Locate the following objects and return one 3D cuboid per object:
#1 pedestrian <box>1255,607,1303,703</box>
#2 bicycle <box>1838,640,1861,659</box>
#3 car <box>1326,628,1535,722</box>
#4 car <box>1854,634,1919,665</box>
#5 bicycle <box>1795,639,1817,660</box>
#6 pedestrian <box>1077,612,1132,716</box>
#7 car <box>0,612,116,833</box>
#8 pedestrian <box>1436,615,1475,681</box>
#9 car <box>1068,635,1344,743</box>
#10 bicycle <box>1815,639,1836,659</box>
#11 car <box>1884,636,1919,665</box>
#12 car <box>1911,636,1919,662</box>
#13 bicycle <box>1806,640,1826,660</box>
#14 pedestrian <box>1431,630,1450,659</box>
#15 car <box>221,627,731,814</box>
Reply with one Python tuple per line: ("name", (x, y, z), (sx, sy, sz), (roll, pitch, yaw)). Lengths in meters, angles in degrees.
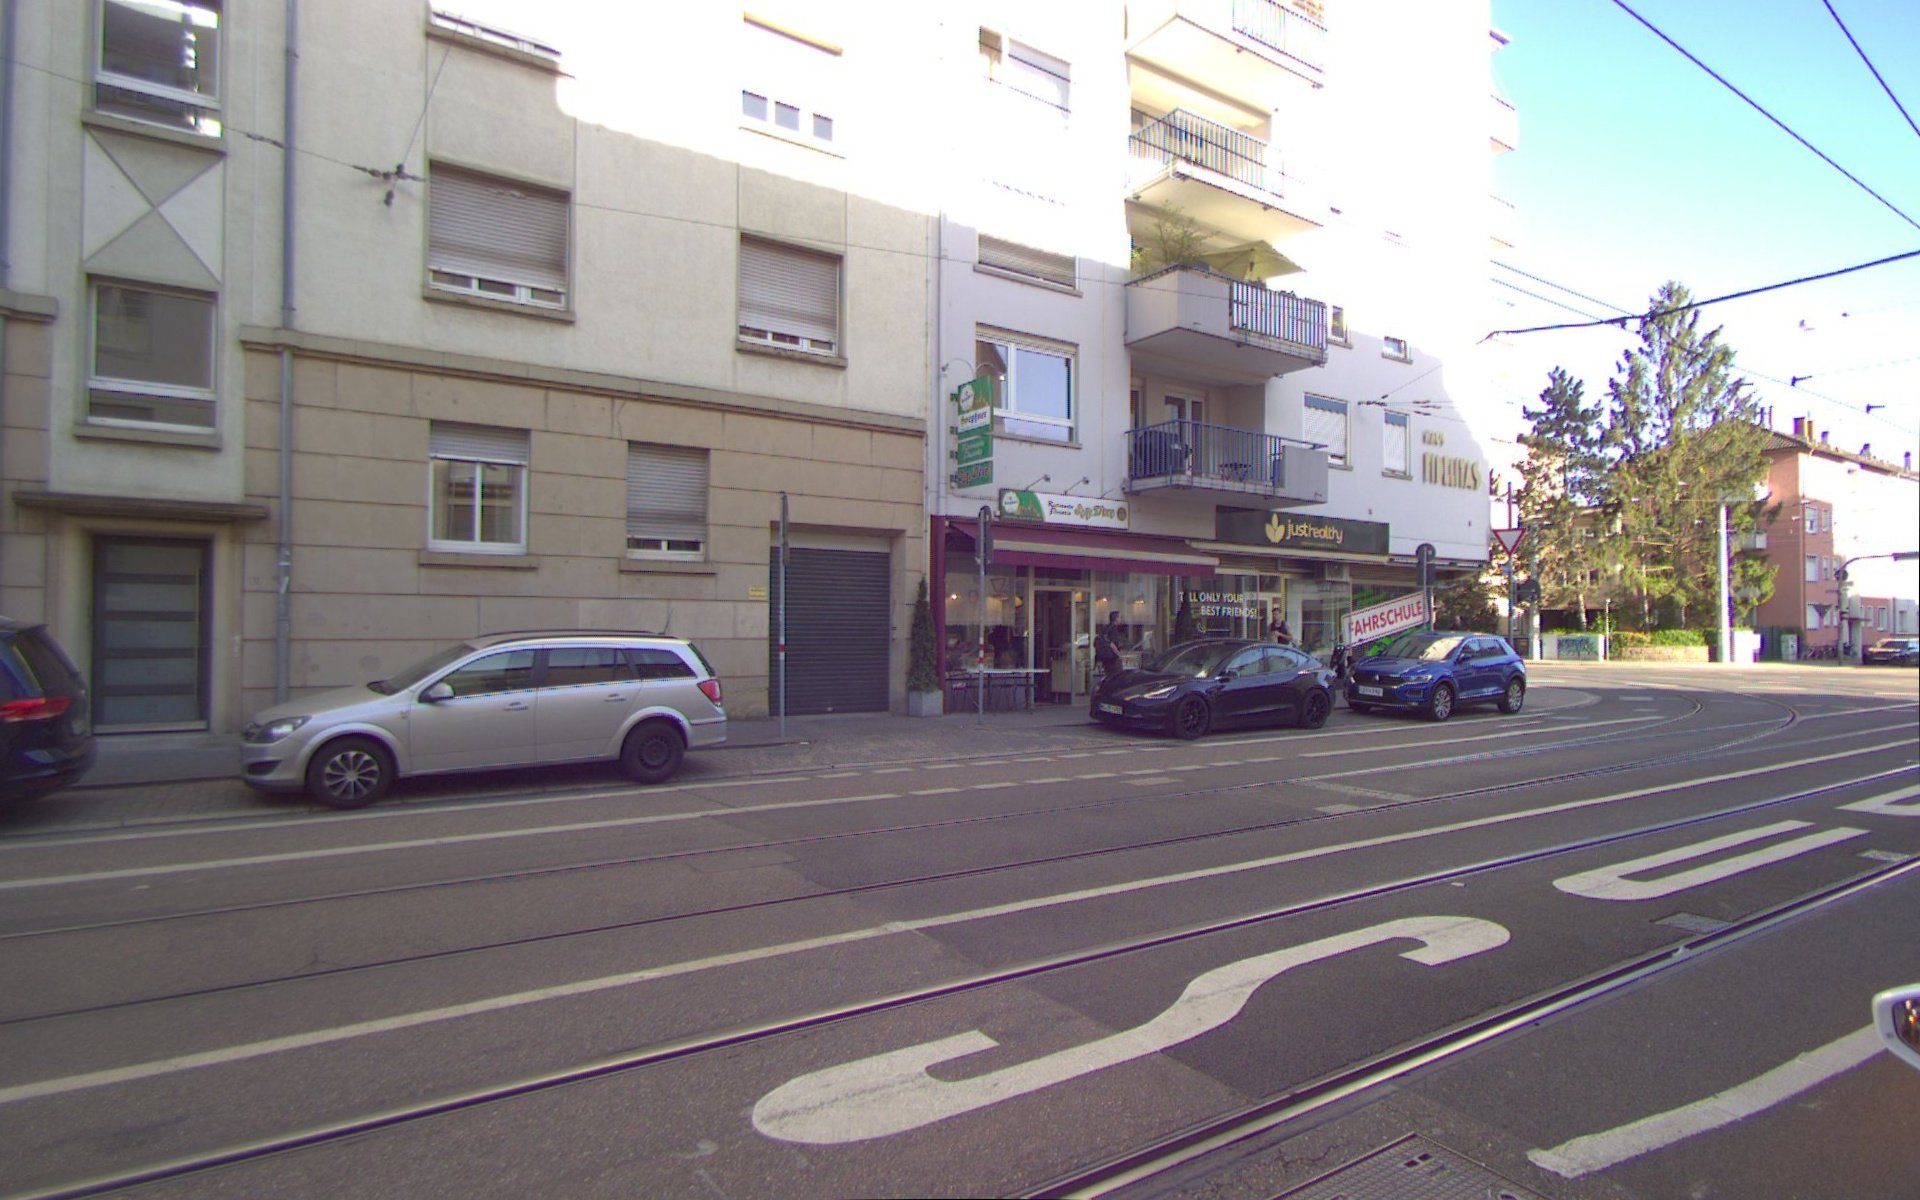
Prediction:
("pedestrian", (6.432, 1.101, 20.271), (0.659, 1.882, 0.753), (0, -1, -8))
("bicycle", (53.142, 2.942, 60.008), (1.892, 1.097, 0.605), (1, -2, -37))
("car", (8.973, 1.346, 19.069), (4.072, 1.525, 1.714), (1, 1, -34))
("car", (49.709, 2.620, 53.766), (3.961, 1.539, 1.938), (1, -2, -36))
("bicycle", (46.867, 2.728, 55.615), (1.895, 1.097, 0.634), (2, -2, -41))
("pedestrian", (2.470, 1.082, 17.206), (0.722, 1.731, 0.600), (1, -2, -32))
("car", (-9.014, 0.879, 7.178), (4.343, 1.620, 1.785), (1, -1, -34))
("pedestrian", (14.192, 1.360, 28.810), (0.707, 1.859, 0.771), (0, -1, -3))
("car", (3.993, 1.315, 16.027), (4.442, 1.422, 1.714), (1, 1, -34))
("bicycle", (50.725, 2.864, 58.864), (1.892, 1.097, 0.533), (1, -2, -37))
("car", (54.258, 2.844, 56.996), (4.006, 1.539, 1.938), (1, -2, -36))
("car", (58.112, 2.901, 59.434), (3.961, 1.539, 1.938), (1, -2, -36))
("bicycle", (47.162, 2.738, 55.323), (1.895, 1.097, 0.532), (2, -2, -41))
("pedestrian", (29.402, 2.725, 61.482), (0.672, 1.725, 0.805), (1, -2, -30))
("car", (-4.726, 1.049, 10.199), (4.343, 1.497, 1.785), (1, -1, -34))
